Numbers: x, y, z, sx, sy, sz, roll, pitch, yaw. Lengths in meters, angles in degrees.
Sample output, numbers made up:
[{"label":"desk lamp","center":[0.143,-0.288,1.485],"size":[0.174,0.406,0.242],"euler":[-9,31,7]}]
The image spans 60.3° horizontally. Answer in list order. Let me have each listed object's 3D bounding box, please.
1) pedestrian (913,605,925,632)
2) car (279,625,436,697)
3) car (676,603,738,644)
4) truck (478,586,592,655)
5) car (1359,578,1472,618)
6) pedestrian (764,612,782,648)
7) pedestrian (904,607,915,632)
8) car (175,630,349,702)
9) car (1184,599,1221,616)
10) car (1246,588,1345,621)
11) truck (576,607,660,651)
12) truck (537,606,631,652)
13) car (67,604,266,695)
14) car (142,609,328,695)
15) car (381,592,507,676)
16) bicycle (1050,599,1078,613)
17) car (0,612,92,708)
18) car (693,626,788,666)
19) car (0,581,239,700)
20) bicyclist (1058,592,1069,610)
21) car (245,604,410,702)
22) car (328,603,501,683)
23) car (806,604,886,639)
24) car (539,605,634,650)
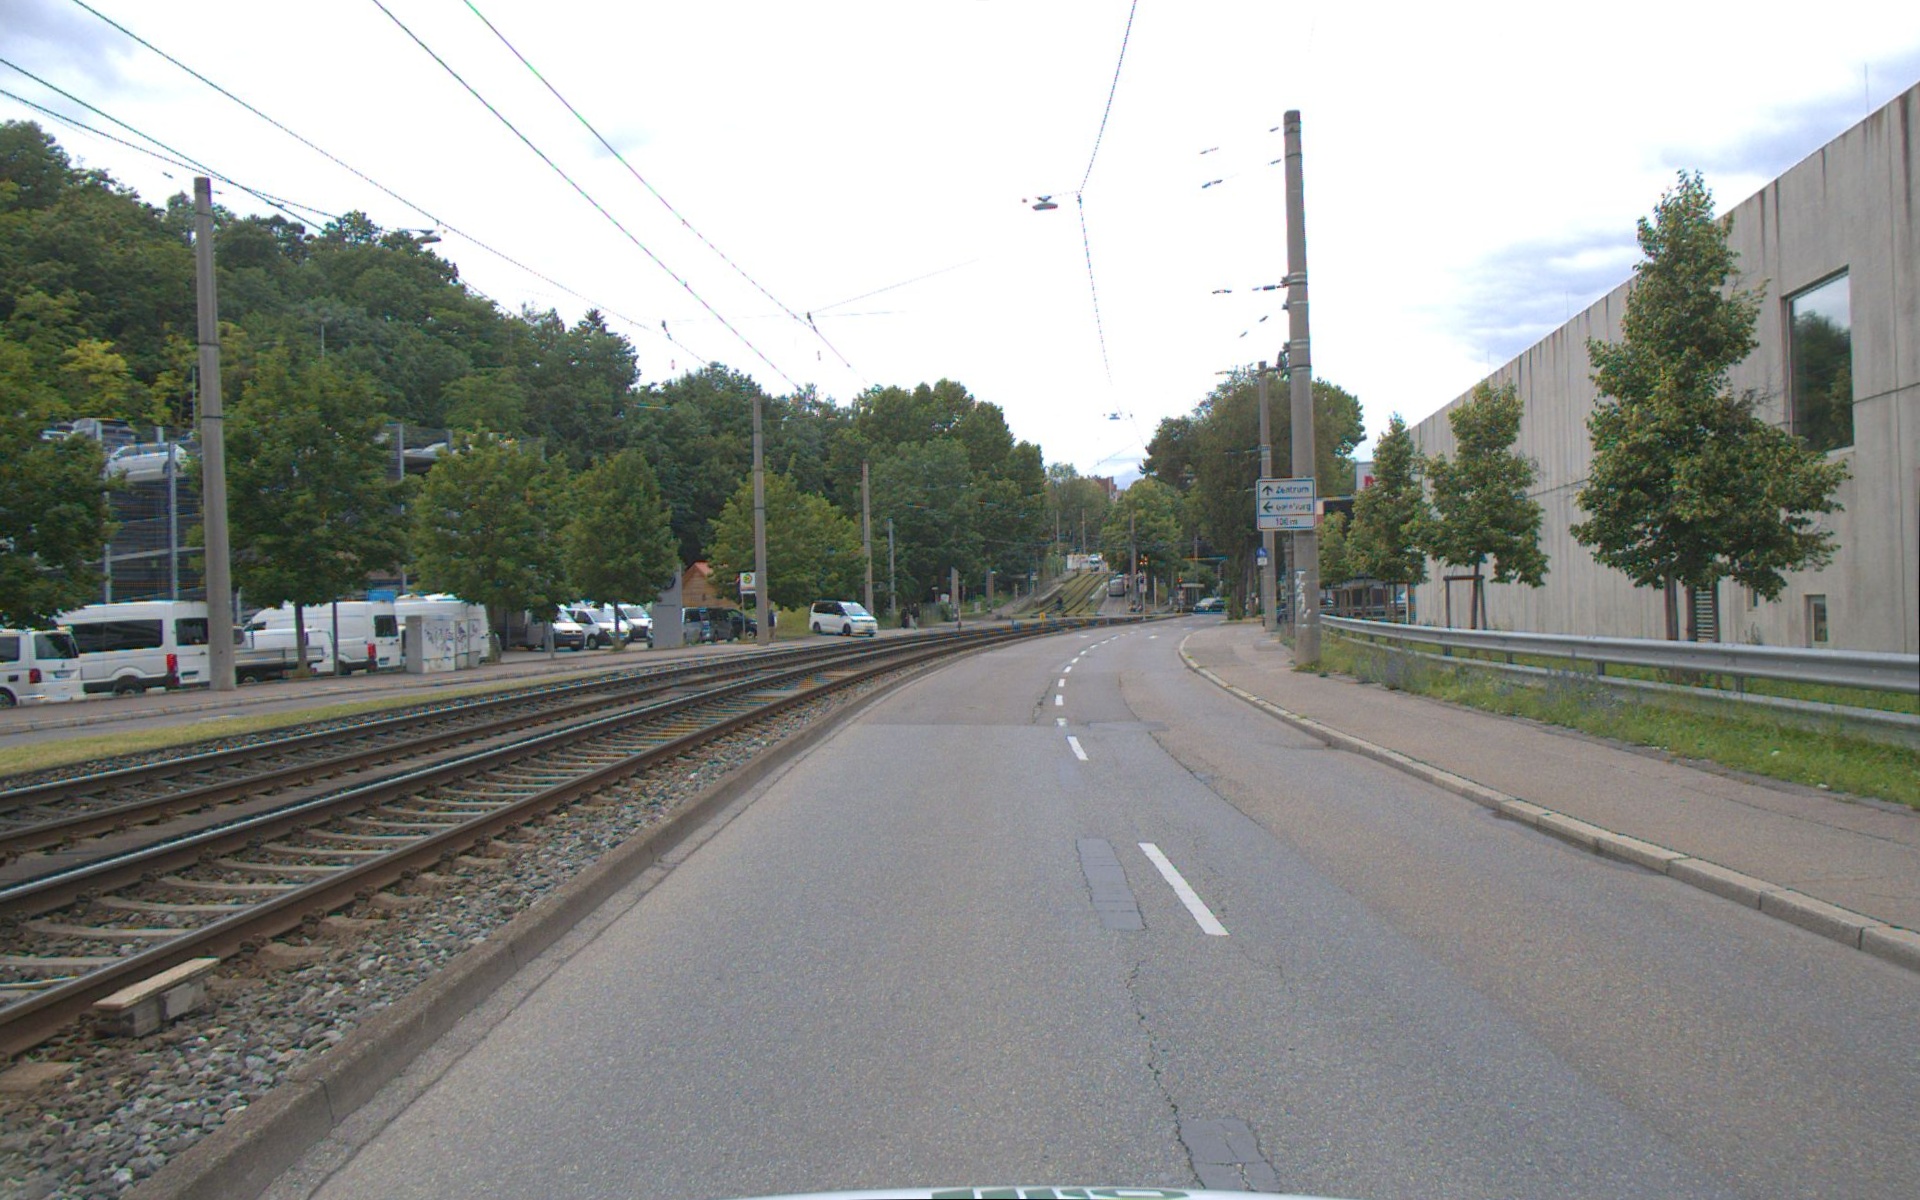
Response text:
[{"label":"pedestrian","center":[-2.888,1.304,116.733],"size":[0.662,1.845,0.856],"euler":[0,0,11]},{"label":"car","center":[-19.459,1.945,53.546],"size":[4.273,2.142,2.005],"euler":[-2,0,5]},{"label":"car","center":[-13.864,1.257,90.844],"size":[1.951,2.049,5.134],"euler":[-2,0,7]},{"label":"truck","center":[-20.379,0.996,79.148],"size":[5.824,3.139,2.110],"euler":[-2,0,38]},{"label":"car","center":[20.692,-0.070,75.214],"size":[4.432,1.575,2.152],"euler":[-2,-1,-15]},{"label":"pedestrian","center":[-9.092,1.445,80.288],"size":[0.703,1.684,1.043],"euler":[1,0,1]},{"label":"pedestrian","center":[-3.588,1.353,116.865],"size":[0.614,1.743,0.856],"euler":[0,0,11]},{"label":"car","center":[-20.720,1.943,49.199],"size":[4.273,1.944,2.005],"euler":[-2,0,5]},{"label":"car","center":[24.740,0.788,168.479],"size":[1.662,1.559,4.231],"euler":[-6,-4,41]},{"label":"car","center":[15.624,0.222,77.099],"size":[4.151,1.468,1.755],"euler":[-1,0,38]},{"label":"truck","center":[-21.831,1.826,105.612],"size":[4.967,2.633,2.461],"euler":[-2,0,34]},{"label":"truck","center":[-23.503,1.820,103.270],"size":[5.658,2.633,2.461],"euler":[-2,0,34]},{"label":"car","center":[-20.997,1.288,43.887],"size":[4.273,2.211,2.005],"euler":[-2,0,5]},{"label":"car","center":[-20.216,1.424,46.215],"size":[4.273,2.211,2.005],"euler":[-2,0,5]},{"label":"car","center":[-20.018,1.242,64.542],"size":[2.063,3.072,5.942],"euler":[-2,0,11]},{"label":"bicycle","center":[11.119,0.678,176.751],"size":[2.931,1.367,0.825],"euler":[-2,0,-9]},{"label":"car","center":[-22.156,1.370,37.136],"size":[4.273,2.045,2.005],"euler":[-2,0,5]},{"label":"car","center":[-12.694,2.645,95.841],"size":[4.999,2.049,2.146],"euler":[-2,0,-28]},{"label":"car","center":[-20.904,0.984,41.248],"size":[4.861,2.745,2.116],"euler":[-2,0,5]},{"label":"bicyclist","center":[11.064,0.105,176.729],"size":[1.028,1.881,0.822],"euler":[-2,-1,-7]},{"label":"car","center":[-19.629,1.614,51.433],"size":[4.273,2.868,2.005],"euler":[-2,0,5]},{"label":"car","center":[-19.512,1.529,59.259],"size":[5.356,2.647,2.248],"euler":[-2,0,9]},{"label":"car","center":[-6.743,1.243,97.579],"size":[2.147,1.921,4.997],"euler":[1,0,-41]},{"label":"car","center":[-18.359,1.344,81.238],"size":[4.636,2.049,1.993],"euler":[-2,0,36]}]
